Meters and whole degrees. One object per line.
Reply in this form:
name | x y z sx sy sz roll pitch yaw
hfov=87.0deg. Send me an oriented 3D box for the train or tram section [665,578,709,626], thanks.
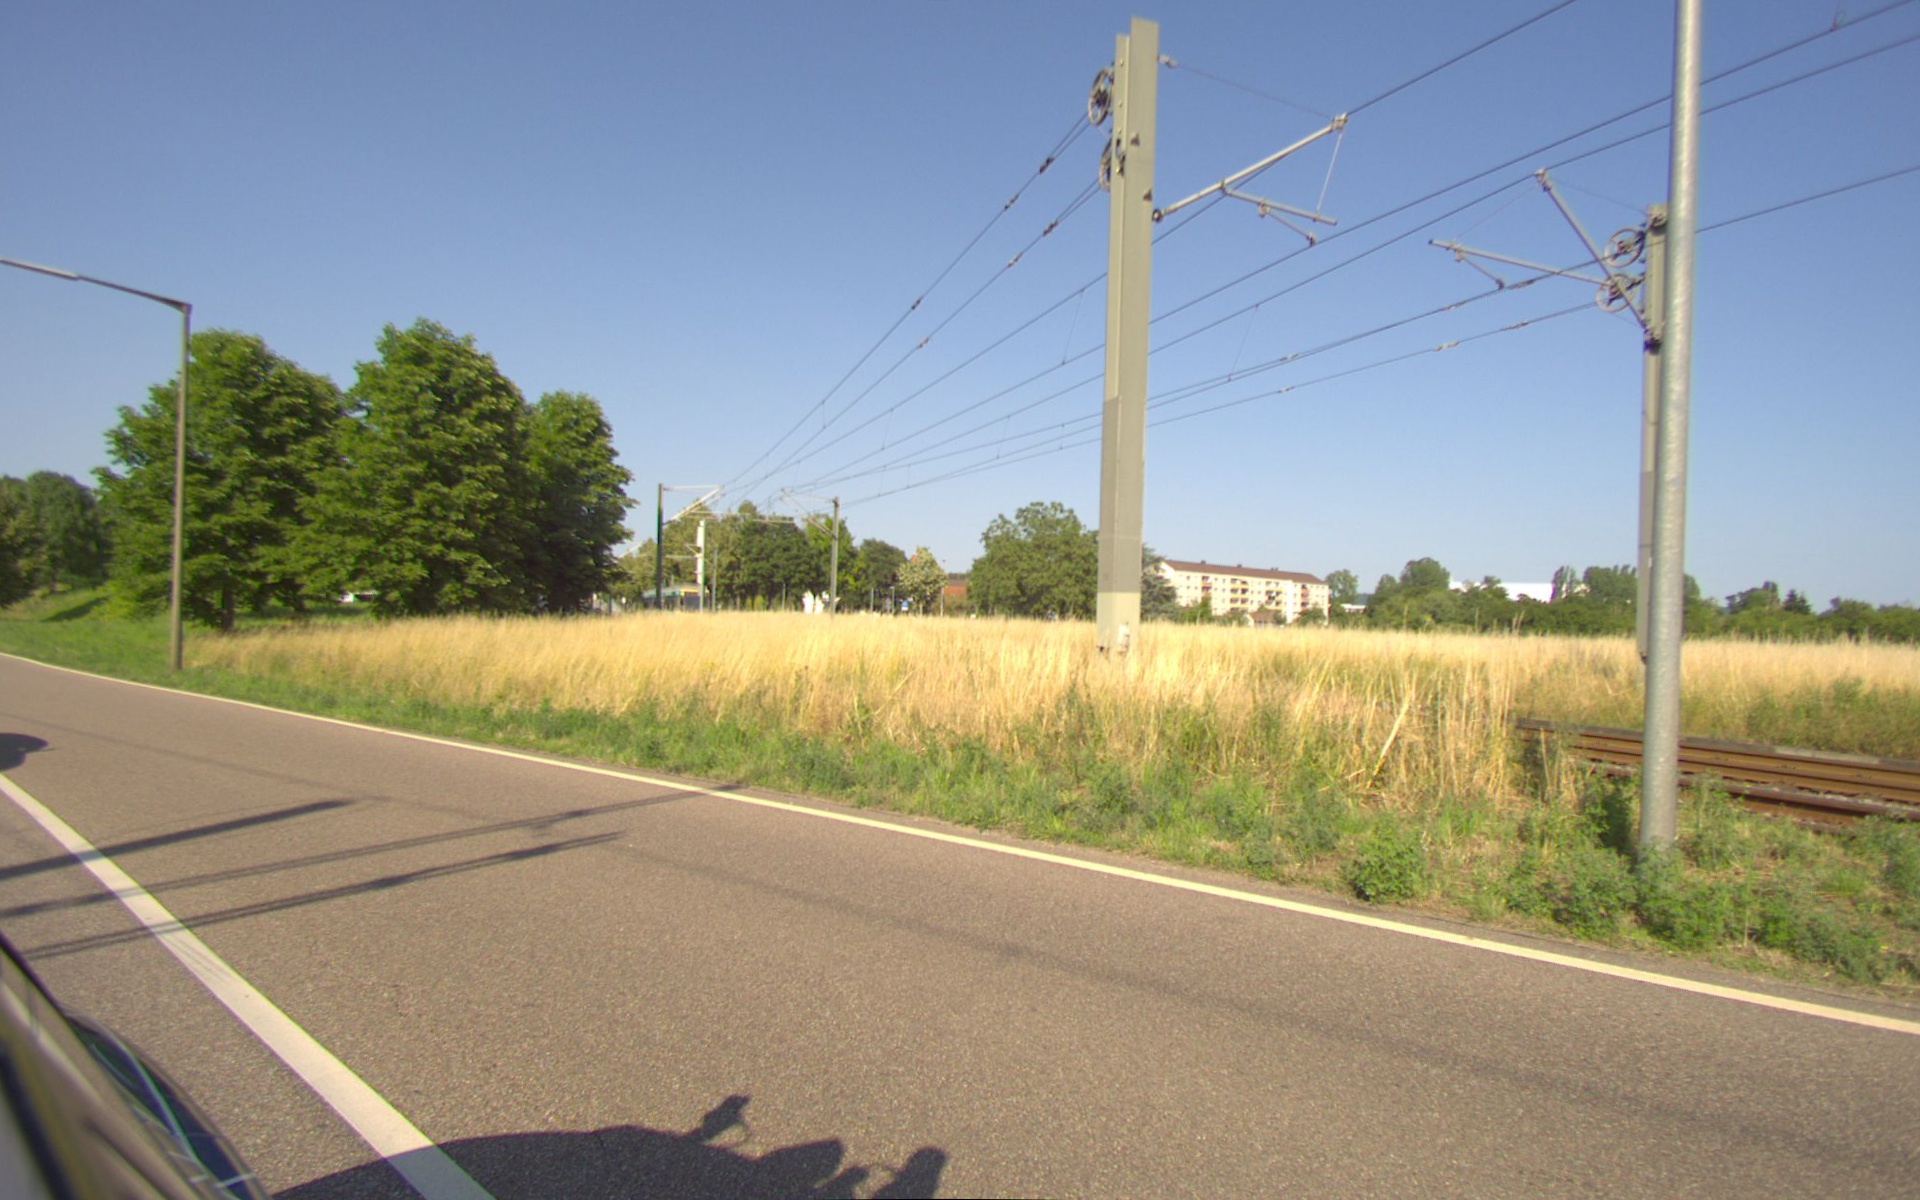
train or tram section | -23.028 0.001 84.811 2.866 3.595 14.306 0 1 -18
